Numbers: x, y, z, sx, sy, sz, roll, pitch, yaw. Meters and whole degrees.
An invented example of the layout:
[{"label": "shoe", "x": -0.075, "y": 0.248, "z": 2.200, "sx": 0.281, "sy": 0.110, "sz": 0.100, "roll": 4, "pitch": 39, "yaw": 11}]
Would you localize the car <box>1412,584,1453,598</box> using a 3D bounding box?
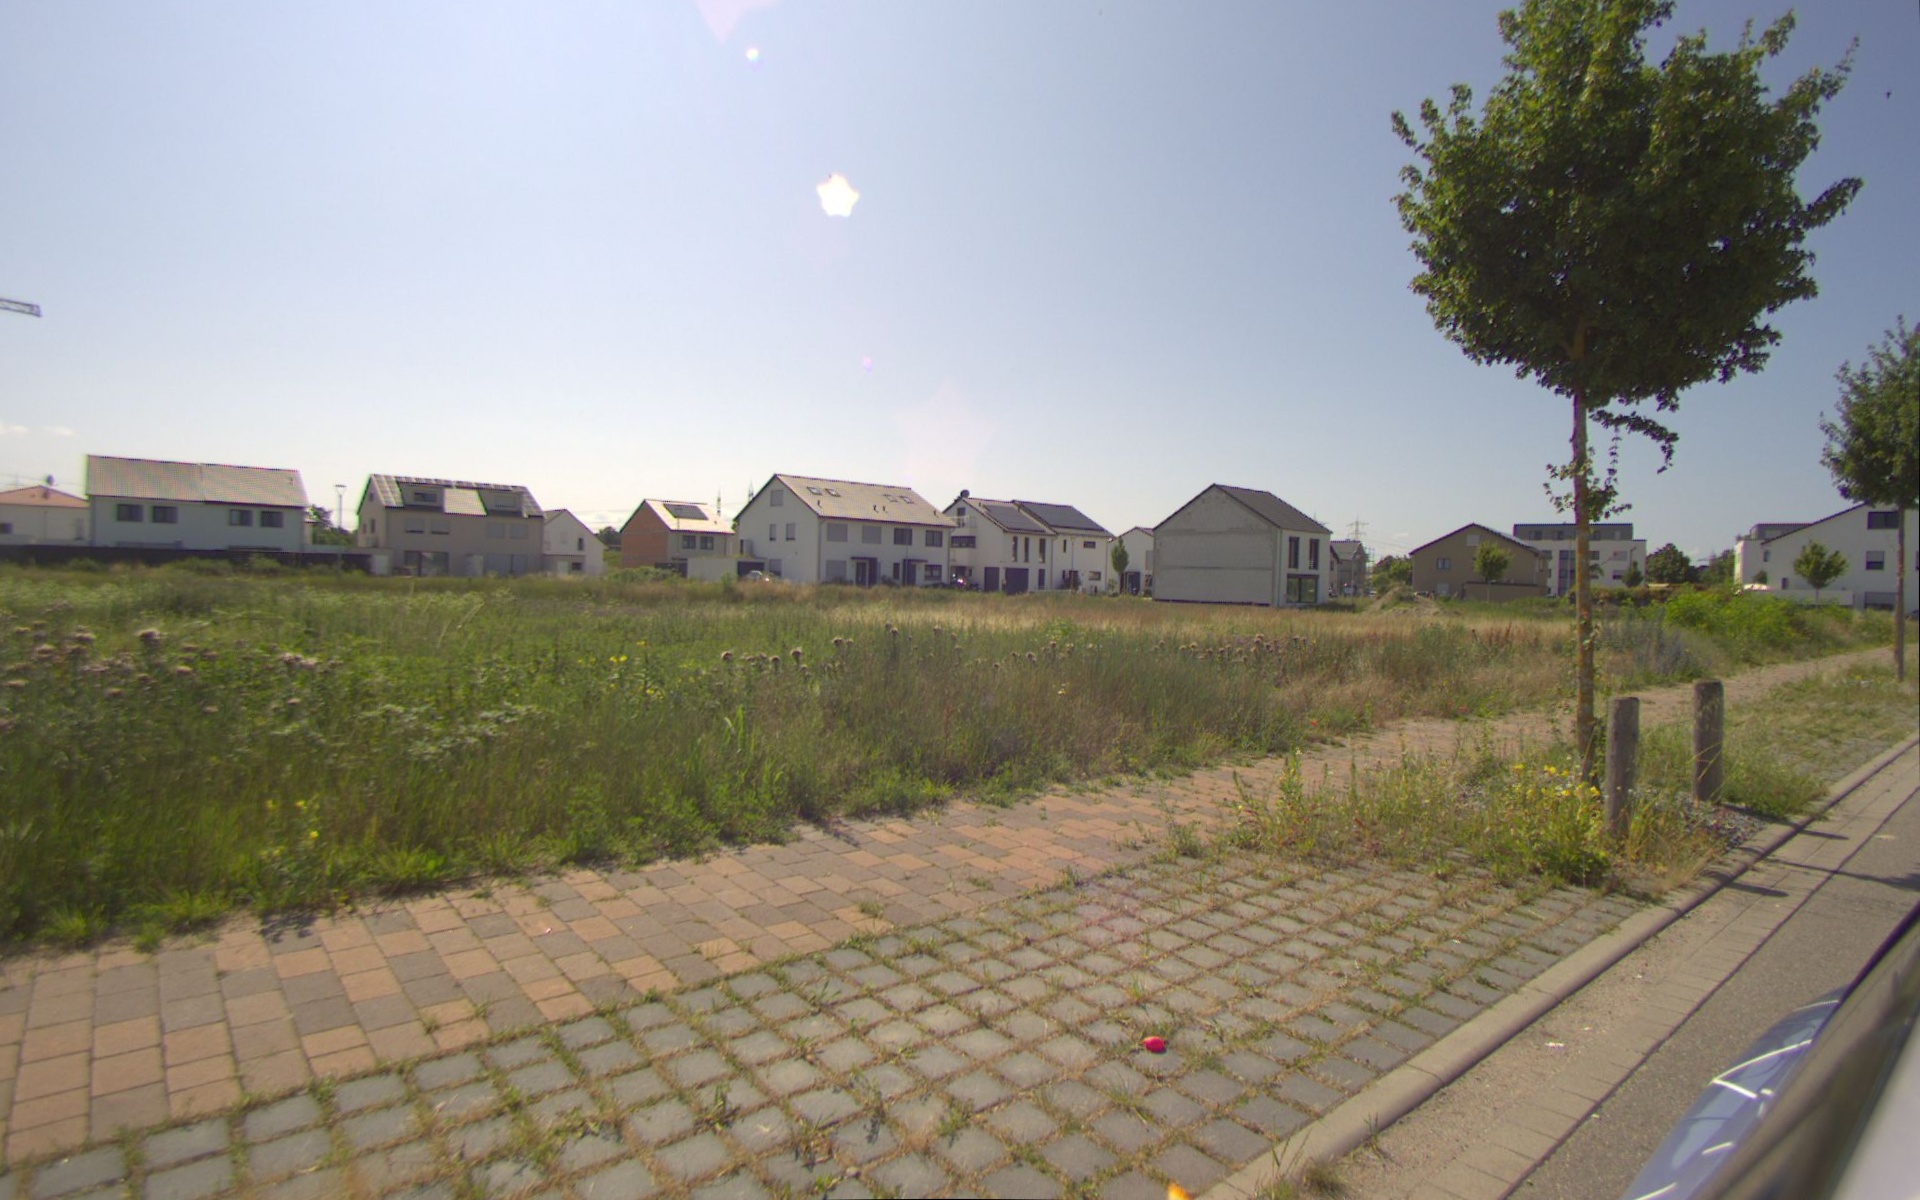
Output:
[{"label": "car", "x": 53.685, "y": -0.984, "z": 114.992, "sx": 3.984, "sy": 1.471, "sz": 1.610, "roll": 2, "pitch": 1, "yaw": 41}]
